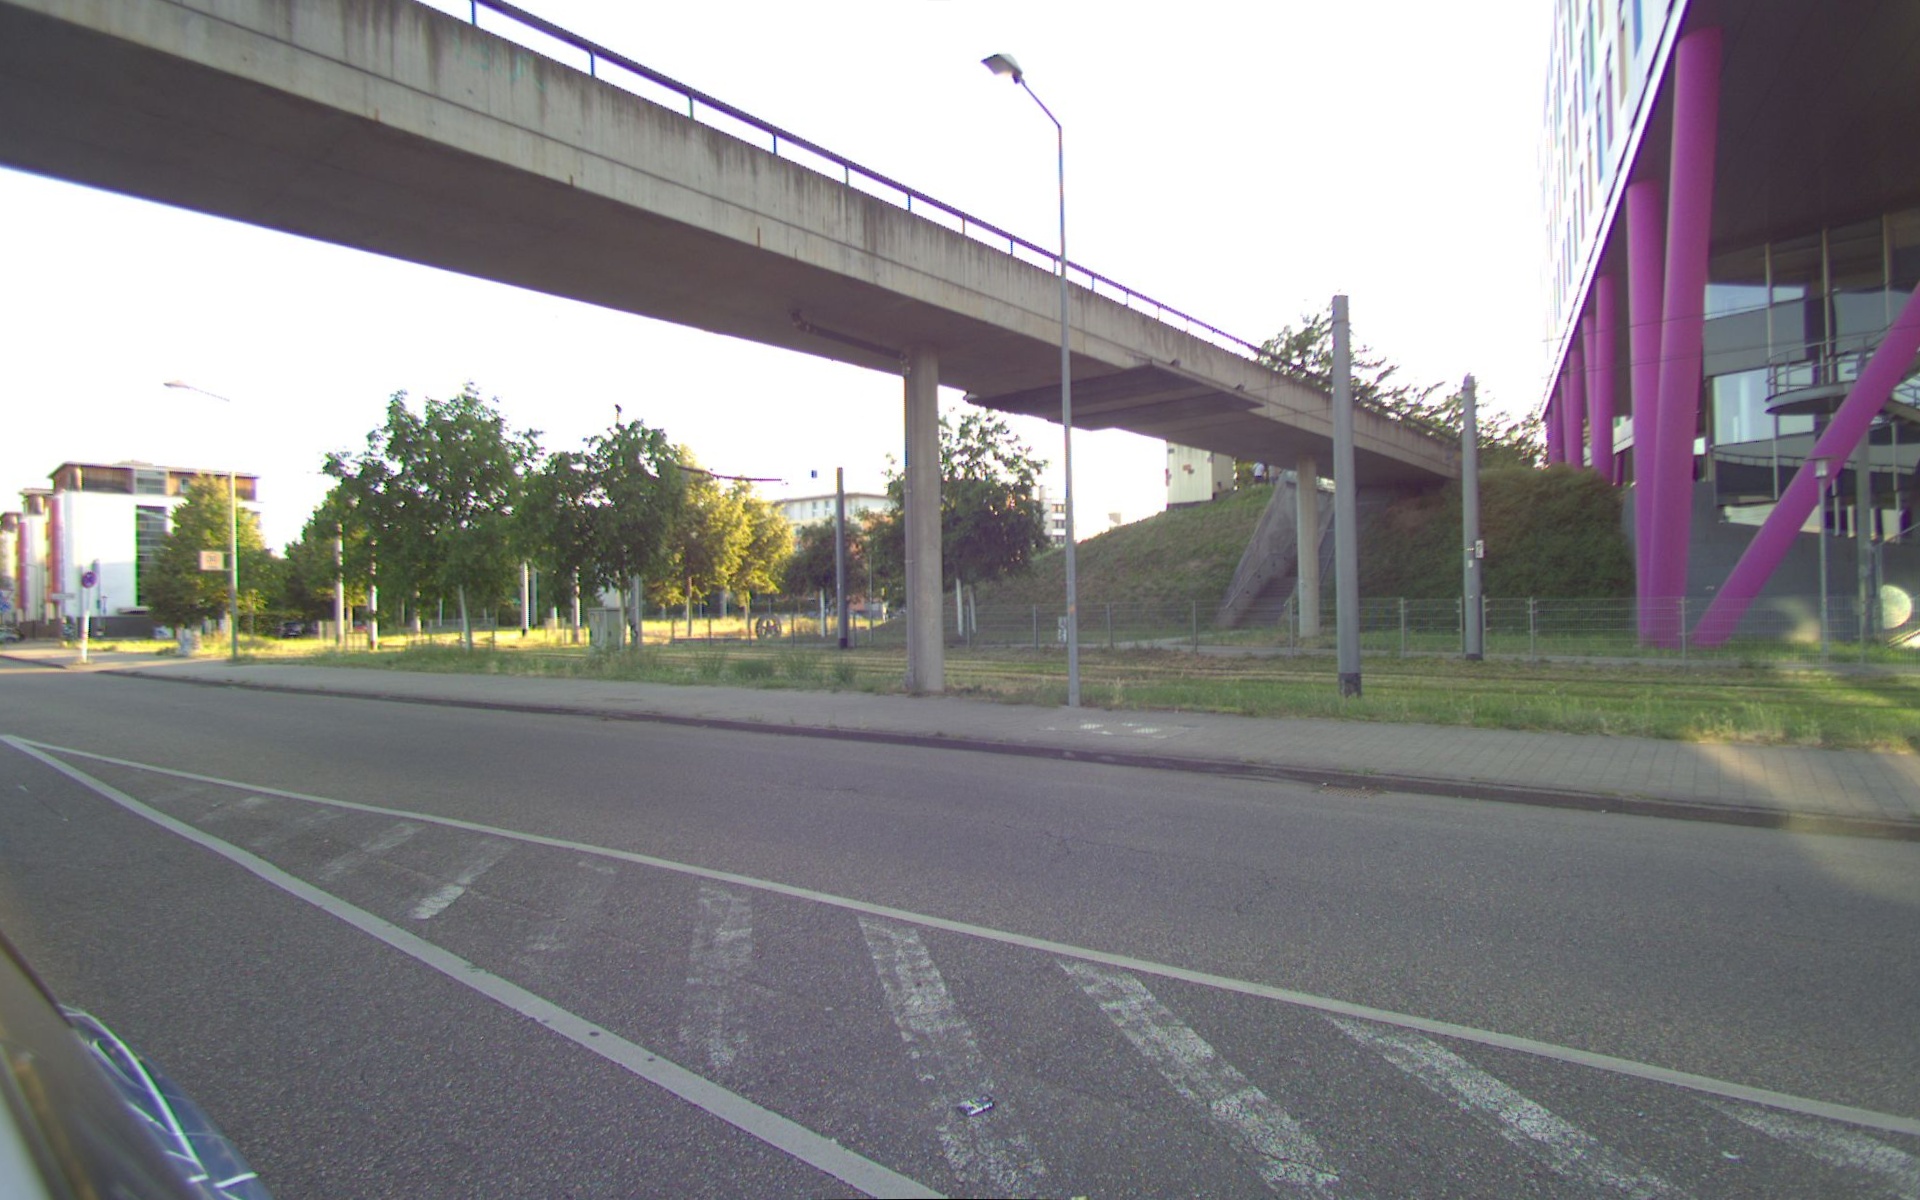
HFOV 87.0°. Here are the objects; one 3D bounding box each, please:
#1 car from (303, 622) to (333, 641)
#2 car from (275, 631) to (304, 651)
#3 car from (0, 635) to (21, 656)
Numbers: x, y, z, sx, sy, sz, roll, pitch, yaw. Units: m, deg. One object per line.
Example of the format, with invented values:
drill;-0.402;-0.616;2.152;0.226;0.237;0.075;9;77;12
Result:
car;-55.235;2.718;87.016;1.913;1.541;4.009;-1;-1;-36
car;-56.883;3.453;85.813;1.913;1.541;4.009;-1;-1;-36
car;-80.521;3.821;83.745;2.000;1.741;3.944;-2;-1;42
